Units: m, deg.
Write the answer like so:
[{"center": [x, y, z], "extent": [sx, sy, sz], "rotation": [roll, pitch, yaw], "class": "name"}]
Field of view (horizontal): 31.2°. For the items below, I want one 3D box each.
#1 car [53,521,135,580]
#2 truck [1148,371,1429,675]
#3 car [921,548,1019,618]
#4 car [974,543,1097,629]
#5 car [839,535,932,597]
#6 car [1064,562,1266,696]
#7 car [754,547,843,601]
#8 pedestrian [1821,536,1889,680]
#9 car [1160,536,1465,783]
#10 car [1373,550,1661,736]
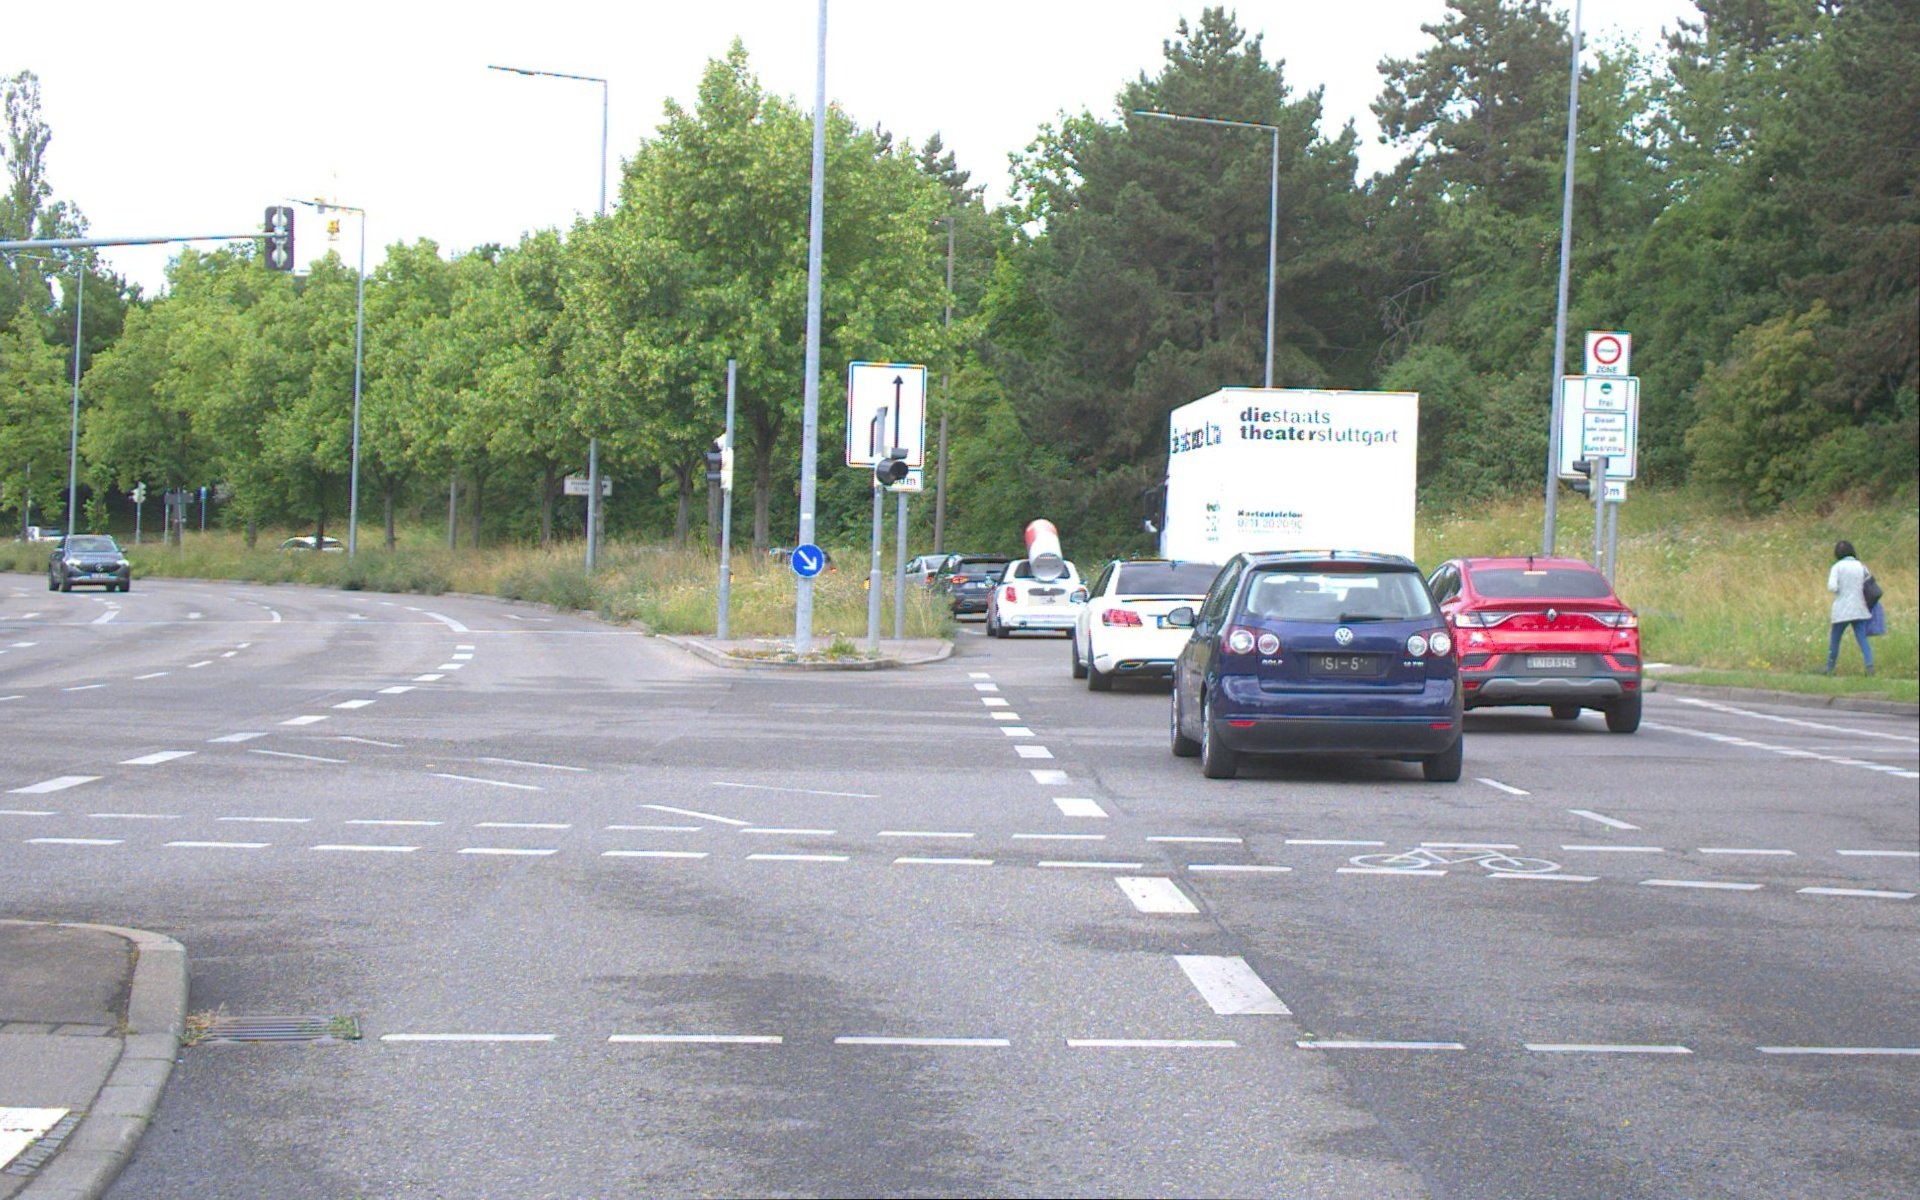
[{"center": [-24.320, -1.386, 96.473], "extent": [1.794, 1.582, 4.001], "rotation": [1, 0, -21], "class": "car"}, {"center": [4.537, -1.122, 49.596], "extent": [2.802, 3.890, 10.183], "rotation": [1, 1, -1], "class": "truck"}, {"center": [0.190, -0.402, 76.852], "extent": [1.624, 1.488, 3.838], "rotation": [1, 1, -8], "class": "car"}, {"center": [1.342, -0.268, 62.416], "extent": [1.821, 1.501, 3.495], "rotation": [1, 0, -5], "class": "car"}, {"center": [-1.861, -0.856, 84.999], "extent": [1.583, 1.488, 3.445], "rotation": [1, 1, -14], "class": "car"}, {"center": [2.253, 0.289, 38.798], "extent": [1.799, 1.407, 4.318], "rotation": [1, 0, -3], "class": "car"}, {"center": [-4.683, -0.757, 99.298], "extent": [1.746, 1.503, 4.049], "rotation": [1, 1, -15], "class": "car"}, {"center": [10.418, 0.086, 40.041], "extent": [0.644, 1.656, 0.713], "rotation": [1, 0, 6], "class": "pedestrian"}, {"center": [2.422, 0.369, 24.478], "extent": [1.664, 1.593, 3.997], "rotation": [1, 0, -1], "class": "car"}, {"center": [4.998, 0.334, 31.416], "extent": [1.847, 1.525, 4.377], "rotation": [1, 1, -1], "class": "car"}]
